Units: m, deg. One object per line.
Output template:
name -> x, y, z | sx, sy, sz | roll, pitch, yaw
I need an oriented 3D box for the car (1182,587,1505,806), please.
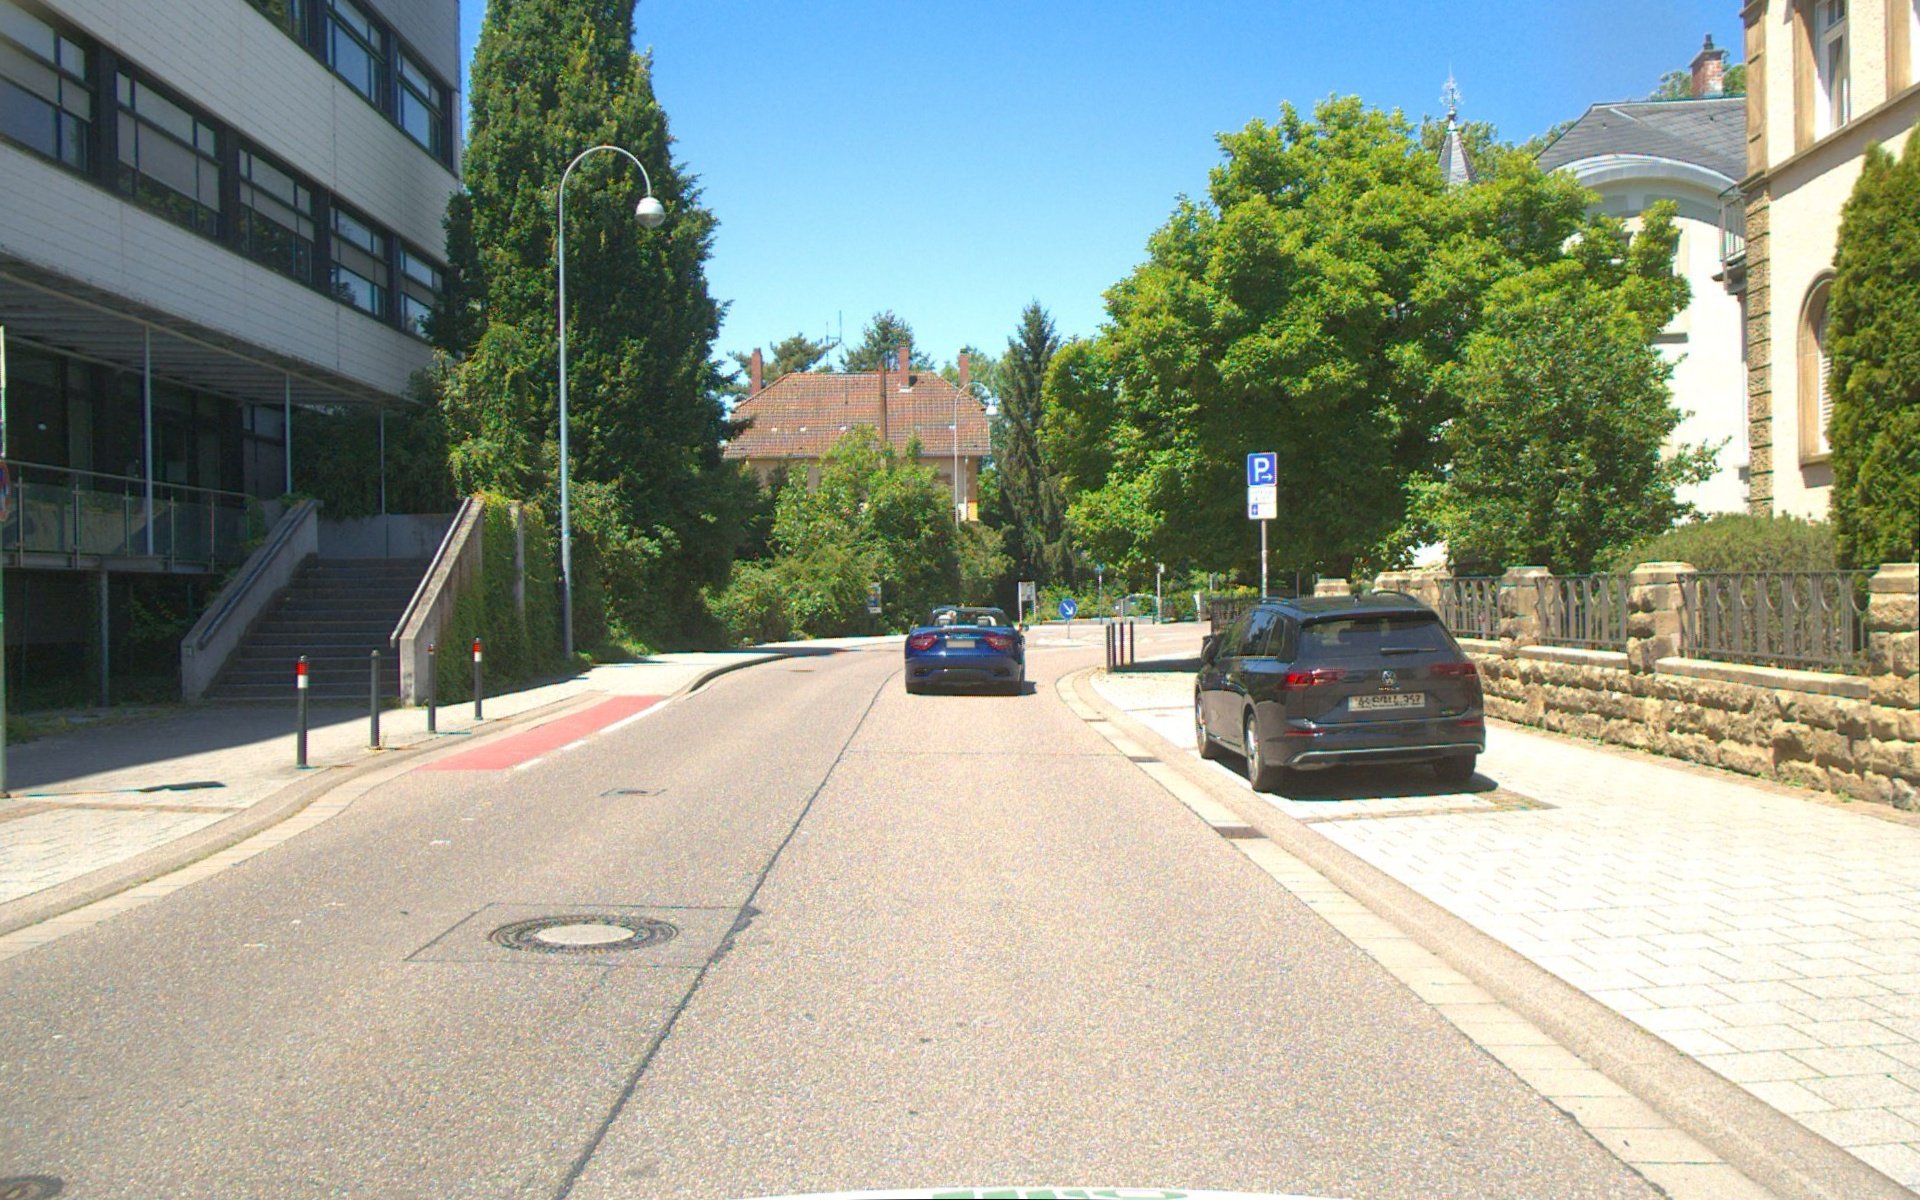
car -> 3.050, 0.684, 14.086 | 1.599, 1.471, 4.397 | -4, 0, -1

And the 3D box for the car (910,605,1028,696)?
car -> 0.105, 0.775, 27.444 | 1.789, 1.360, 4.699 | 0, 0, -1
